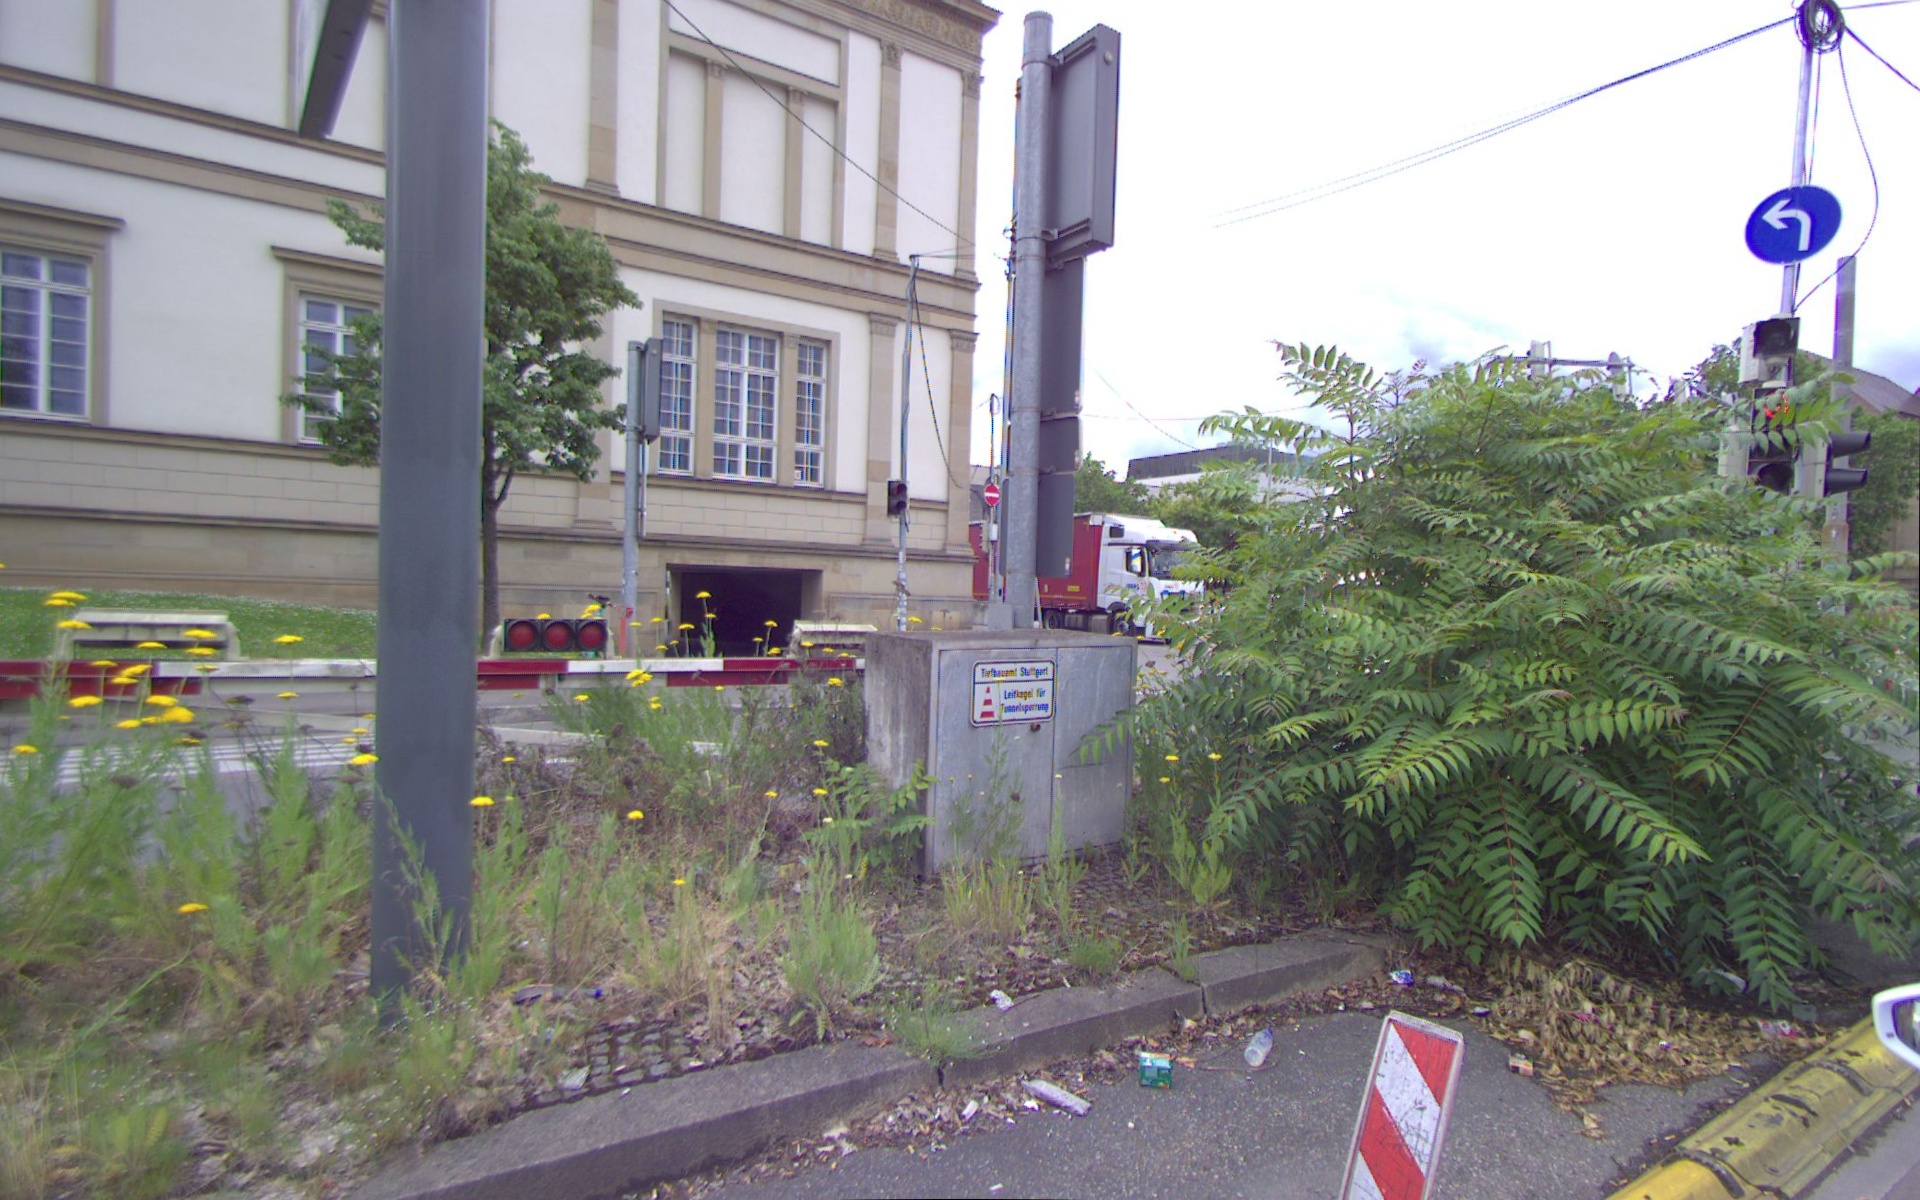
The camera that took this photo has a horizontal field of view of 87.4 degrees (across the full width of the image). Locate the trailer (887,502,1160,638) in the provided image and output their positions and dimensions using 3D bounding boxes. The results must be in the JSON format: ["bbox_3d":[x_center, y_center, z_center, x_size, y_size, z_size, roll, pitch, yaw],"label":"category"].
[{"bbox_3d":[1.775,-1.002,38.729,2.916,4.338,13.662,2,0,-33],"label":"trailer"}]

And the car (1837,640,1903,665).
[{"bbox_3d":[56.057,3.247,61.887,3.631,1.417,1.672,2,0,-24],"label":"car"}]

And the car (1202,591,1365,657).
[{"bbox_3d":[8.758,0.608,27.525,1.810,1.646,4.032,2,0,-31],"label":"car"}]

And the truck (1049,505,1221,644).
[{"bbox_3d":[5.613,-0.762,32.770,2.915,4.118,4.846,2,0,-34],"label":"truck"}]
